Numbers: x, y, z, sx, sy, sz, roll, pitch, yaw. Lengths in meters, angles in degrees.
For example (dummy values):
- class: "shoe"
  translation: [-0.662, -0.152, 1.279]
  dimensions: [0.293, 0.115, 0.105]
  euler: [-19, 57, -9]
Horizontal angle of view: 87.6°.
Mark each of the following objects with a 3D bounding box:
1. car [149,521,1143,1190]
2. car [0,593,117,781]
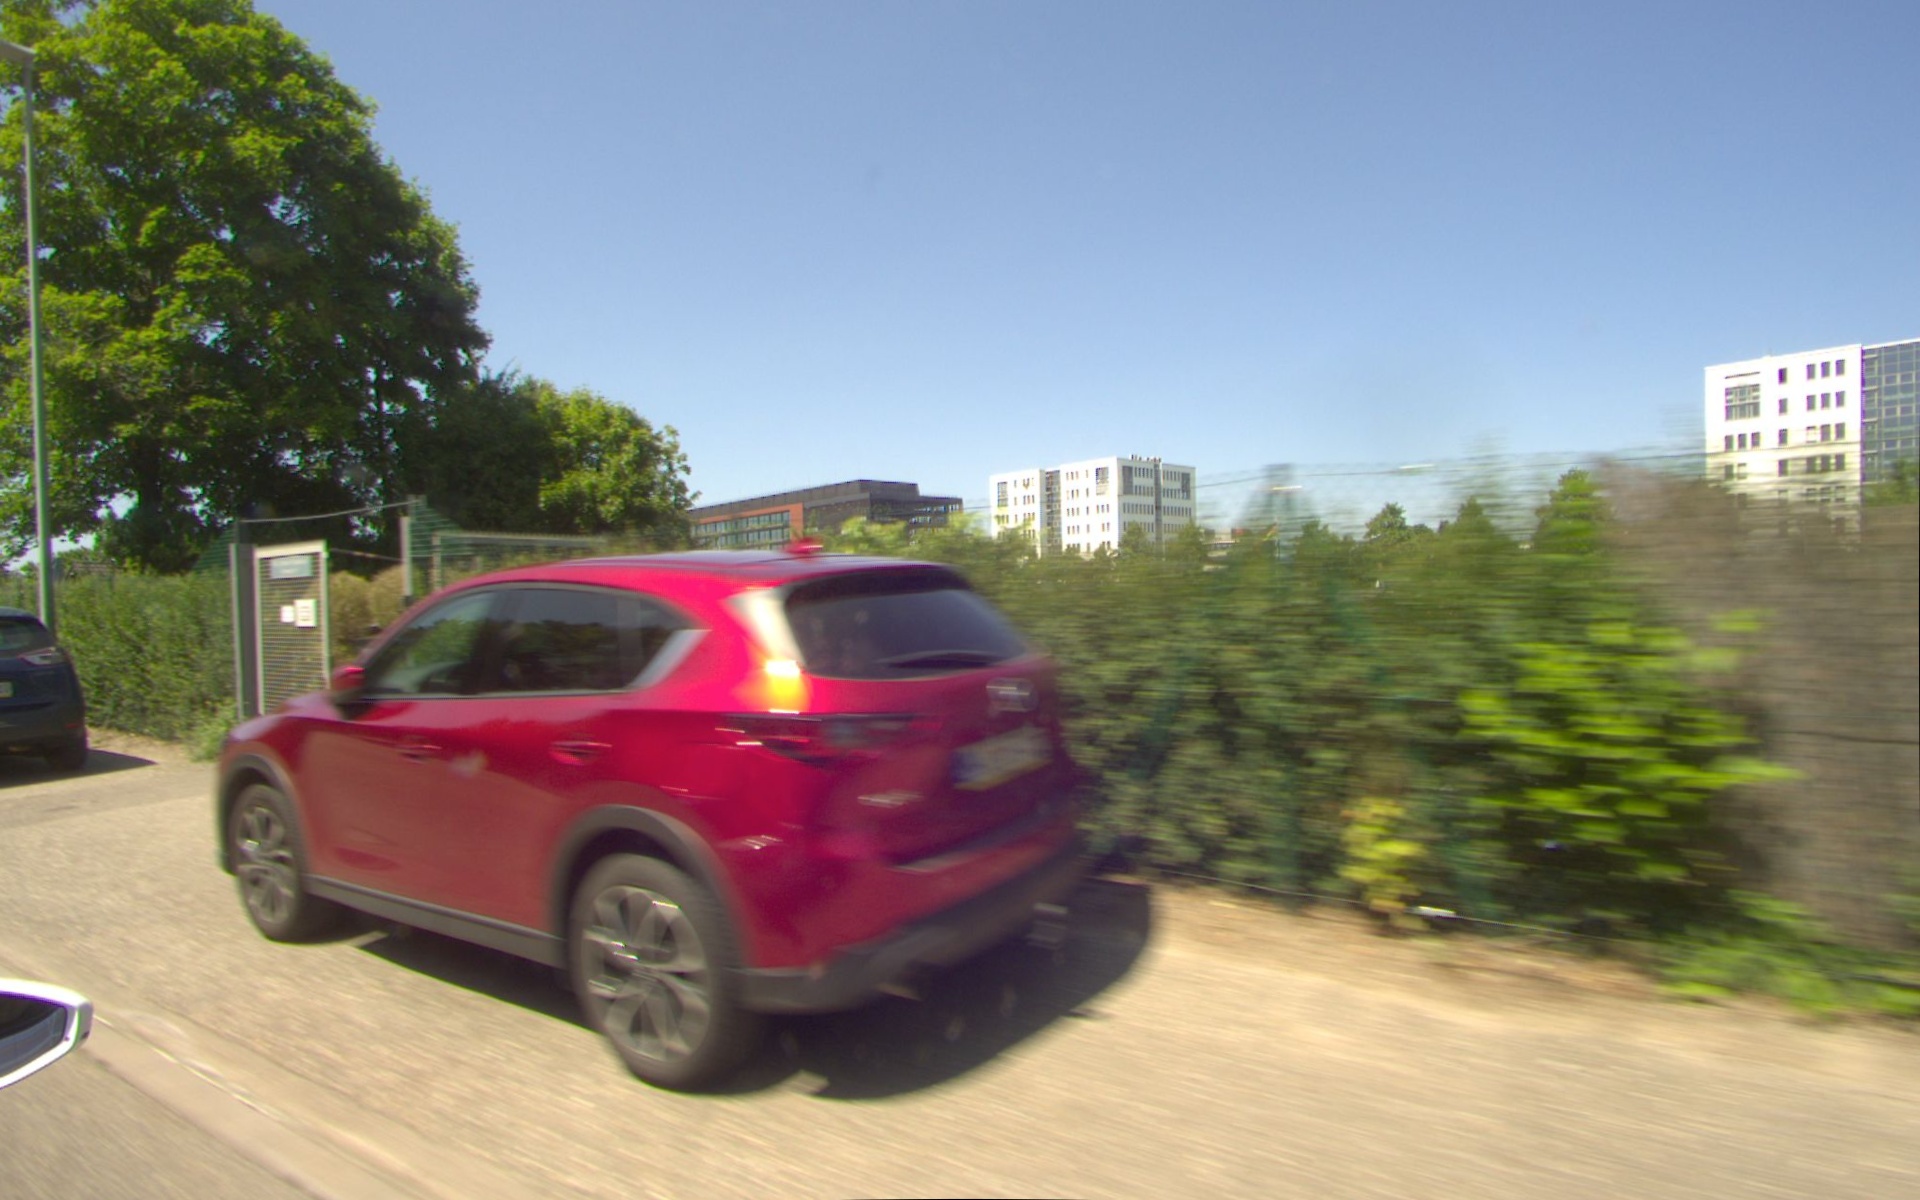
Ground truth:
- class: "car"
  translation: [-1.606, 0.616, 4.443]
  dimensions: [4.391, 1.681, 1.783]
  euler: [-1, 4, 34]
- class: "car"
  translation: [-10.096, 0.773, 9.742]
  dimensions: [4.071, 1.625, 1.784]
  euler: [0, 1, 33]
